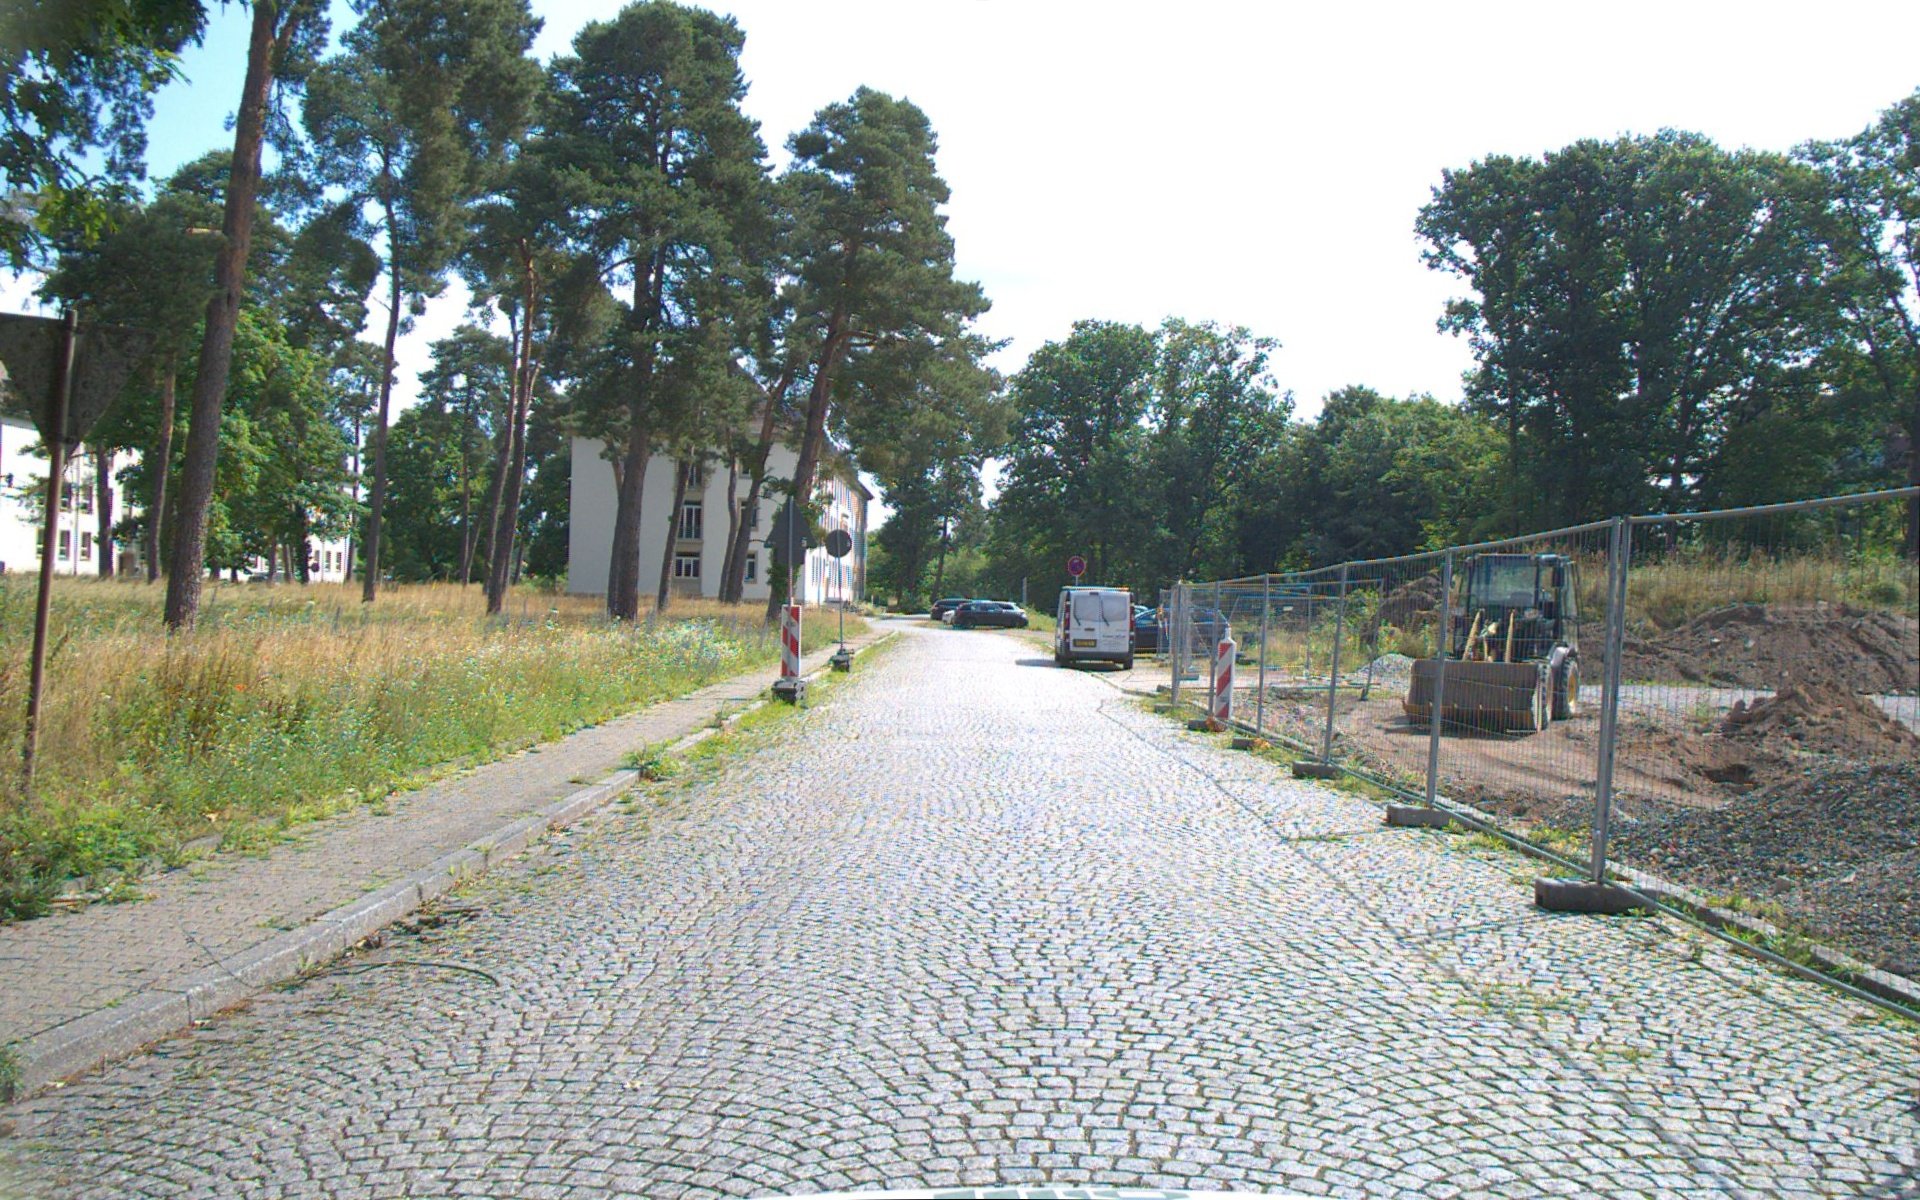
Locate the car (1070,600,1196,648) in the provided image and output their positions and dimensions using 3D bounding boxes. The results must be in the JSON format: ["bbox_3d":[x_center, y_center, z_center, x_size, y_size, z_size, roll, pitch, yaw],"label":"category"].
[{"bbox_3d":[5.672,0.768,54.384,3.907,1.533,1.745,0,0,-3],"label":"car"}]

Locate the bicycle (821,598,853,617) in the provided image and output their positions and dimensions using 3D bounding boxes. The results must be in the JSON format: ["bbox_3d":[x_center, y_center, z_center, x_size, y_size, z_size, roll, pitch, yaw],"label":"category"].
[{"bbox_3d":[-8.817,0.540,118.615,2.176,1.282,0.623,1,0,2],"label":"bicycle"}]

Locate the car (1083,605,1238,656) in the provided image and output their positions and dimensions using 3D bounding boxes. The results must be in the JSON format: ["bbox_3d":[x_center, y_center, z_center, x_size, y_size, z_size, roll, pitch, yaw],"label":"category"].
[{"bbox_3d":[5.990,0.899,49.716,4.366,1.501,1.744,0,0,-5],"label":"car"}]

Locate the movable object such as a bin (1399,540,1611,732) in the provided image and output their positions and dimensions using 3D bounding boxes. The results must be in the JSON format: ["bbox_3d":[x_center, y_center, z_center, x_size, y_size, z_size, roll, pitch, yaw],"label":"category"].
[{"bbox_3d":[8.370,0.449,25.018,2.102,2.566,5.648,1,1,28],"label":"movable object such as a bin"}]

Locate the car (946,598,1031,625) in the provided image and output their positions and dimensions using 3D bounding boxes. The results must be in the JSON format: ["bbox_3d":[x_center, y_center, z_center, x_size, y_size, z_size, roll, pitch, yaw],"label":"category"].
[{"bbox_3d":[1.624,0.629,94.214,4.764,1.498,1.874,0,1,-2],"label":"car"}]

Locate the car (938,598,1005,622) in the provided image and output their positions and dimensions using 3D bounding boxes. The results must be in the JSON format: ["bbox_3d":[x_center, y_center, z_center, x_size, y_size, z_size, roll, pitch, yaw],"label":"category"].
[{"bbox_3d":[0.743,0.657,106.869,4.309,1.510,1.765,0,-1,-2],"label":"car"}]

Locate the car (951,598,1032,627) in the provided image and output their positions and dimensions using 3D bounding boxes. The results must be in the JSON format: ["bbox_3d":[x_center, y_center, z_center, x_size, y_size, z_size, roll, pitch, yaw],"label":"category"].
[{"bbox_3d":[1.736,0.679,91.147,4.243,1.526,1.827,0,1,-8],"label":"car"}]

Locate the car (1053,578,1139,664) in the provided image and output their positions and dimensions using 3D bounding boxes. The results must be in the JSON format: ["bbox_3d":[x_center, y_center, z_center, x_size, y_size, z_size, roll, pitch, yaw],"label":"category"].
[{"bbox_3d":[3.535,0.528,43.767,1.874,2.089,5.679,1,0,1],"label":"car"}]
